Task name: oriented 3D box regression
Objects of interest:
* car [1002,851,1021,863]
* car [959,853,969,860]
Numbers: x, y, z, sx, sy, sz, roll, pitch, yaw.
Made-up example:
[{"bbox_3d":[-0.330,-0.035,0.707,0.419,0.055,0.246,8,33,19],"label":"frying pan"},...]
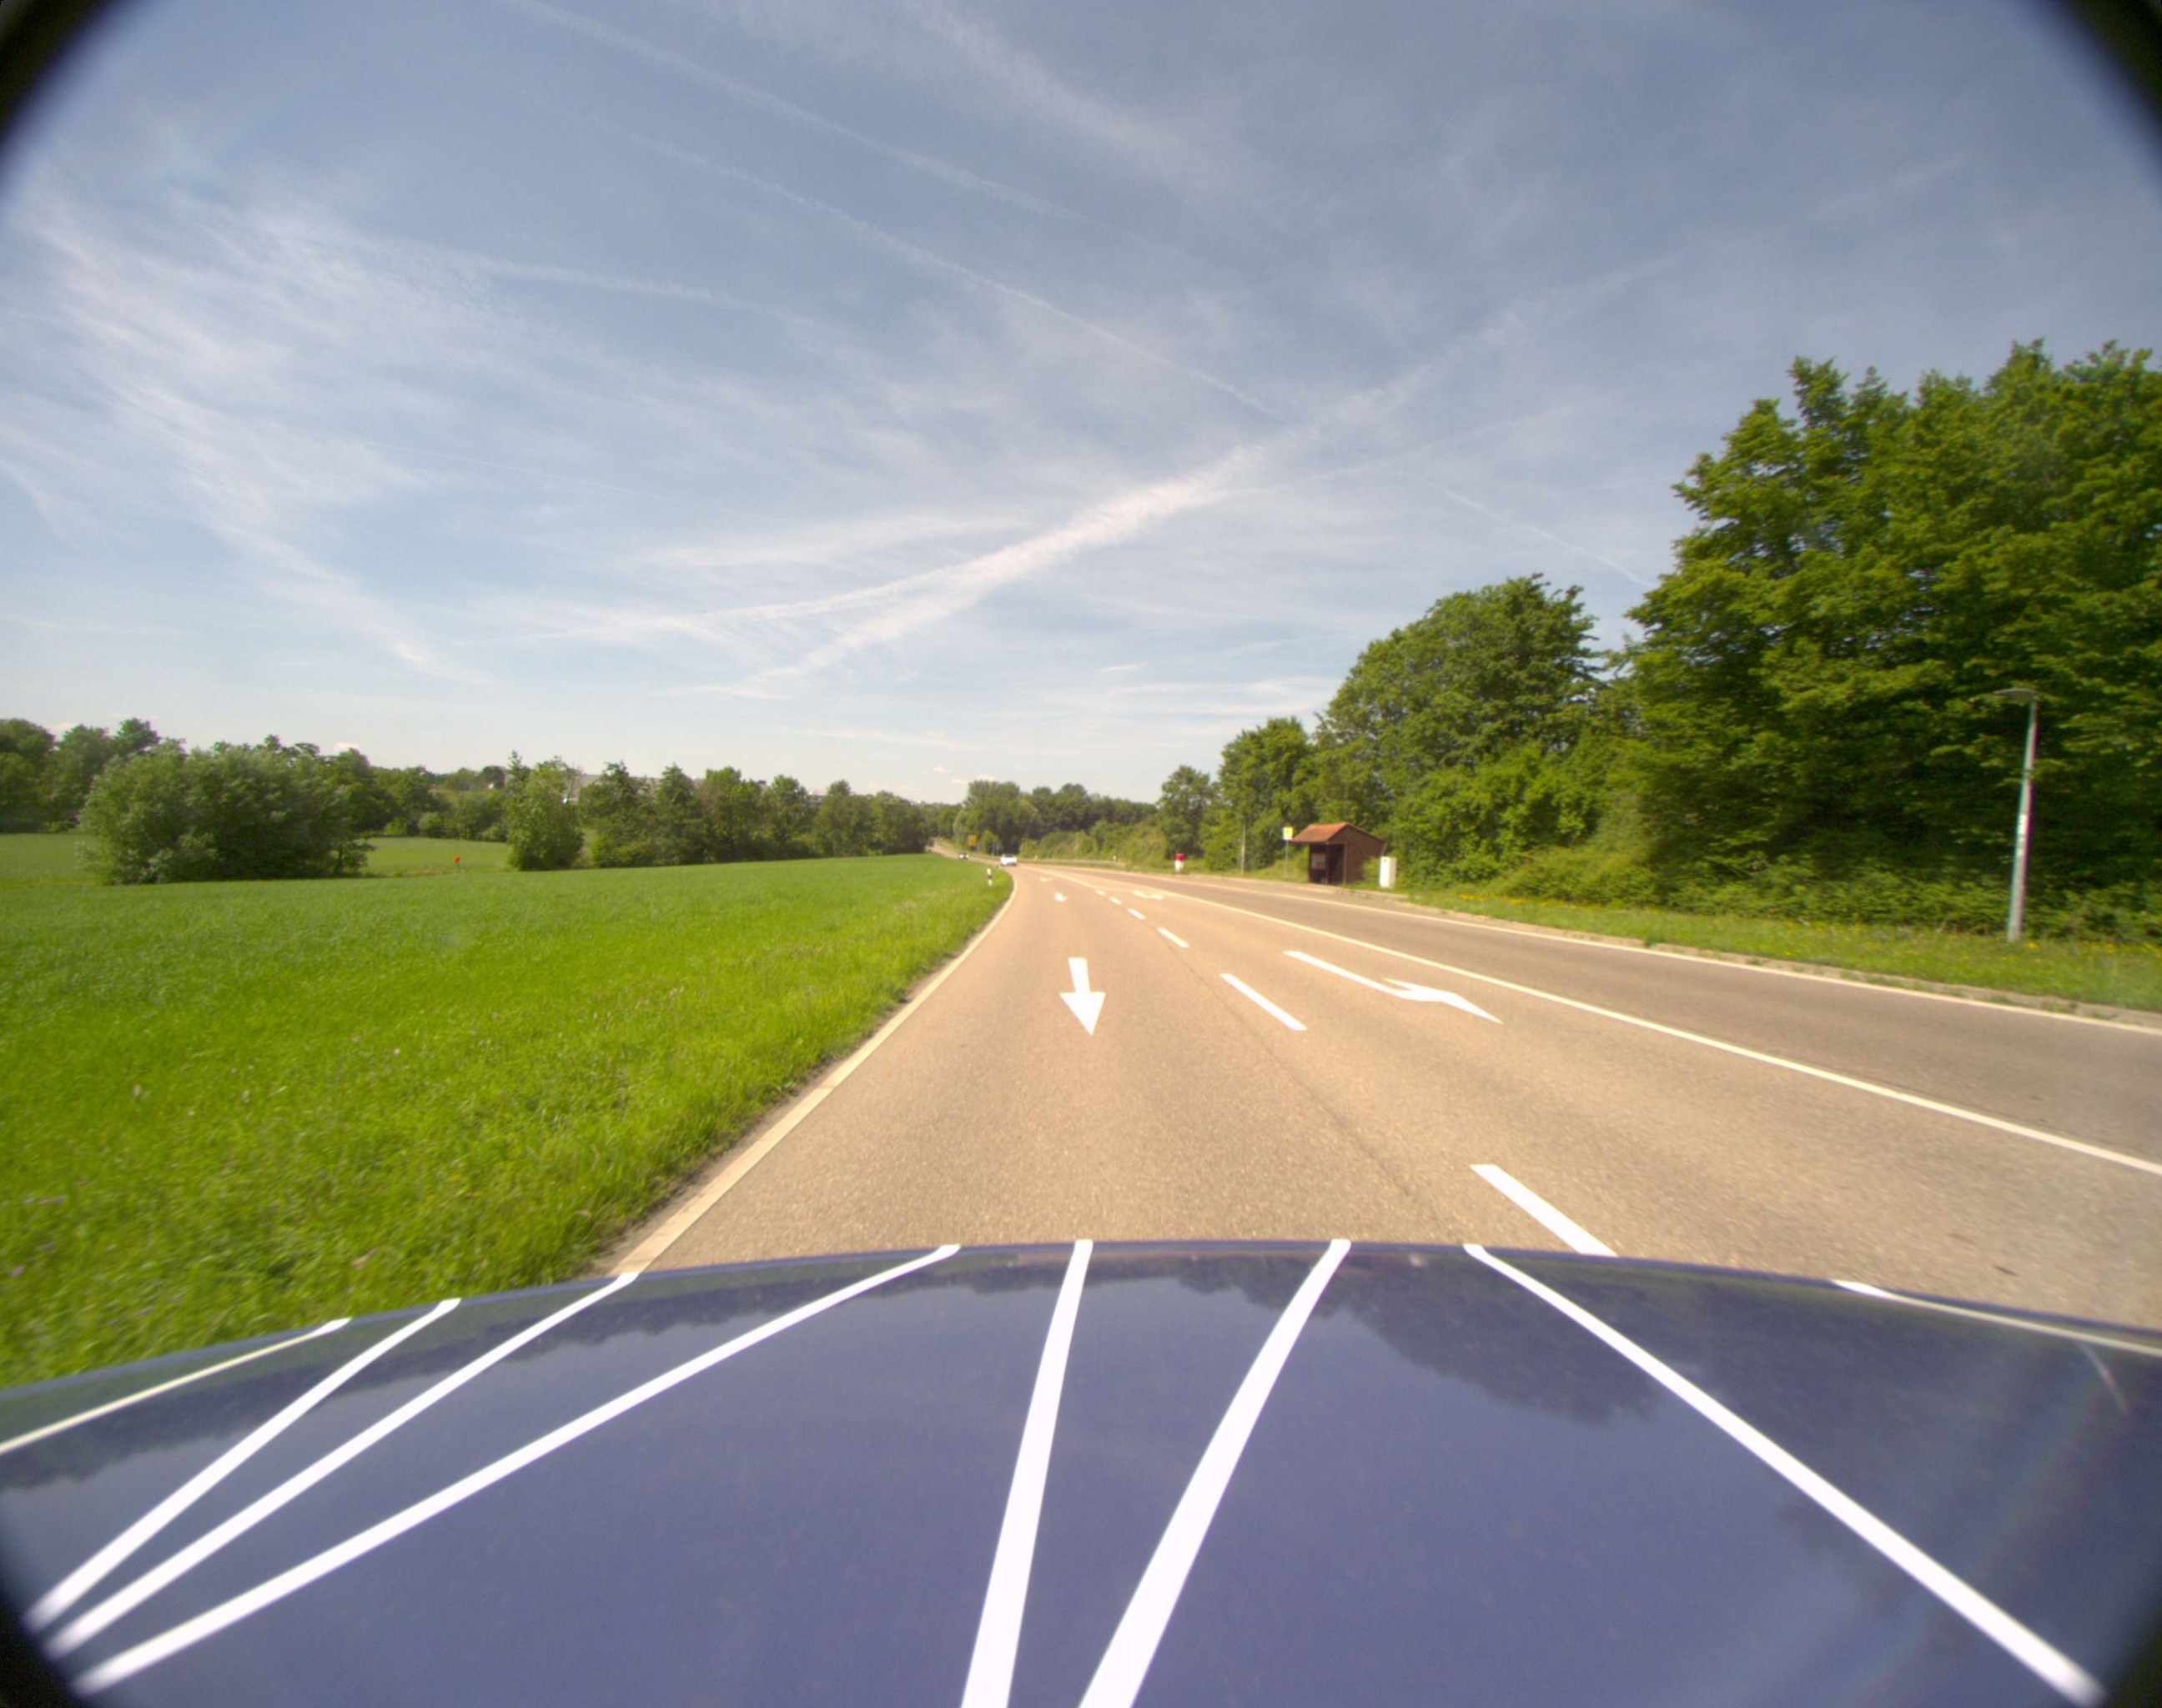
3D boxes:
[{"bbox_3d":[-8.849,0.364,96.270,2.000,1.576,3.996,-1,0,-10],"label":"car"},{"bbox_3d":[-24.745,0.486,161.262,2.000,1.575,3.996,0,0,-10],"label":"car"}]
